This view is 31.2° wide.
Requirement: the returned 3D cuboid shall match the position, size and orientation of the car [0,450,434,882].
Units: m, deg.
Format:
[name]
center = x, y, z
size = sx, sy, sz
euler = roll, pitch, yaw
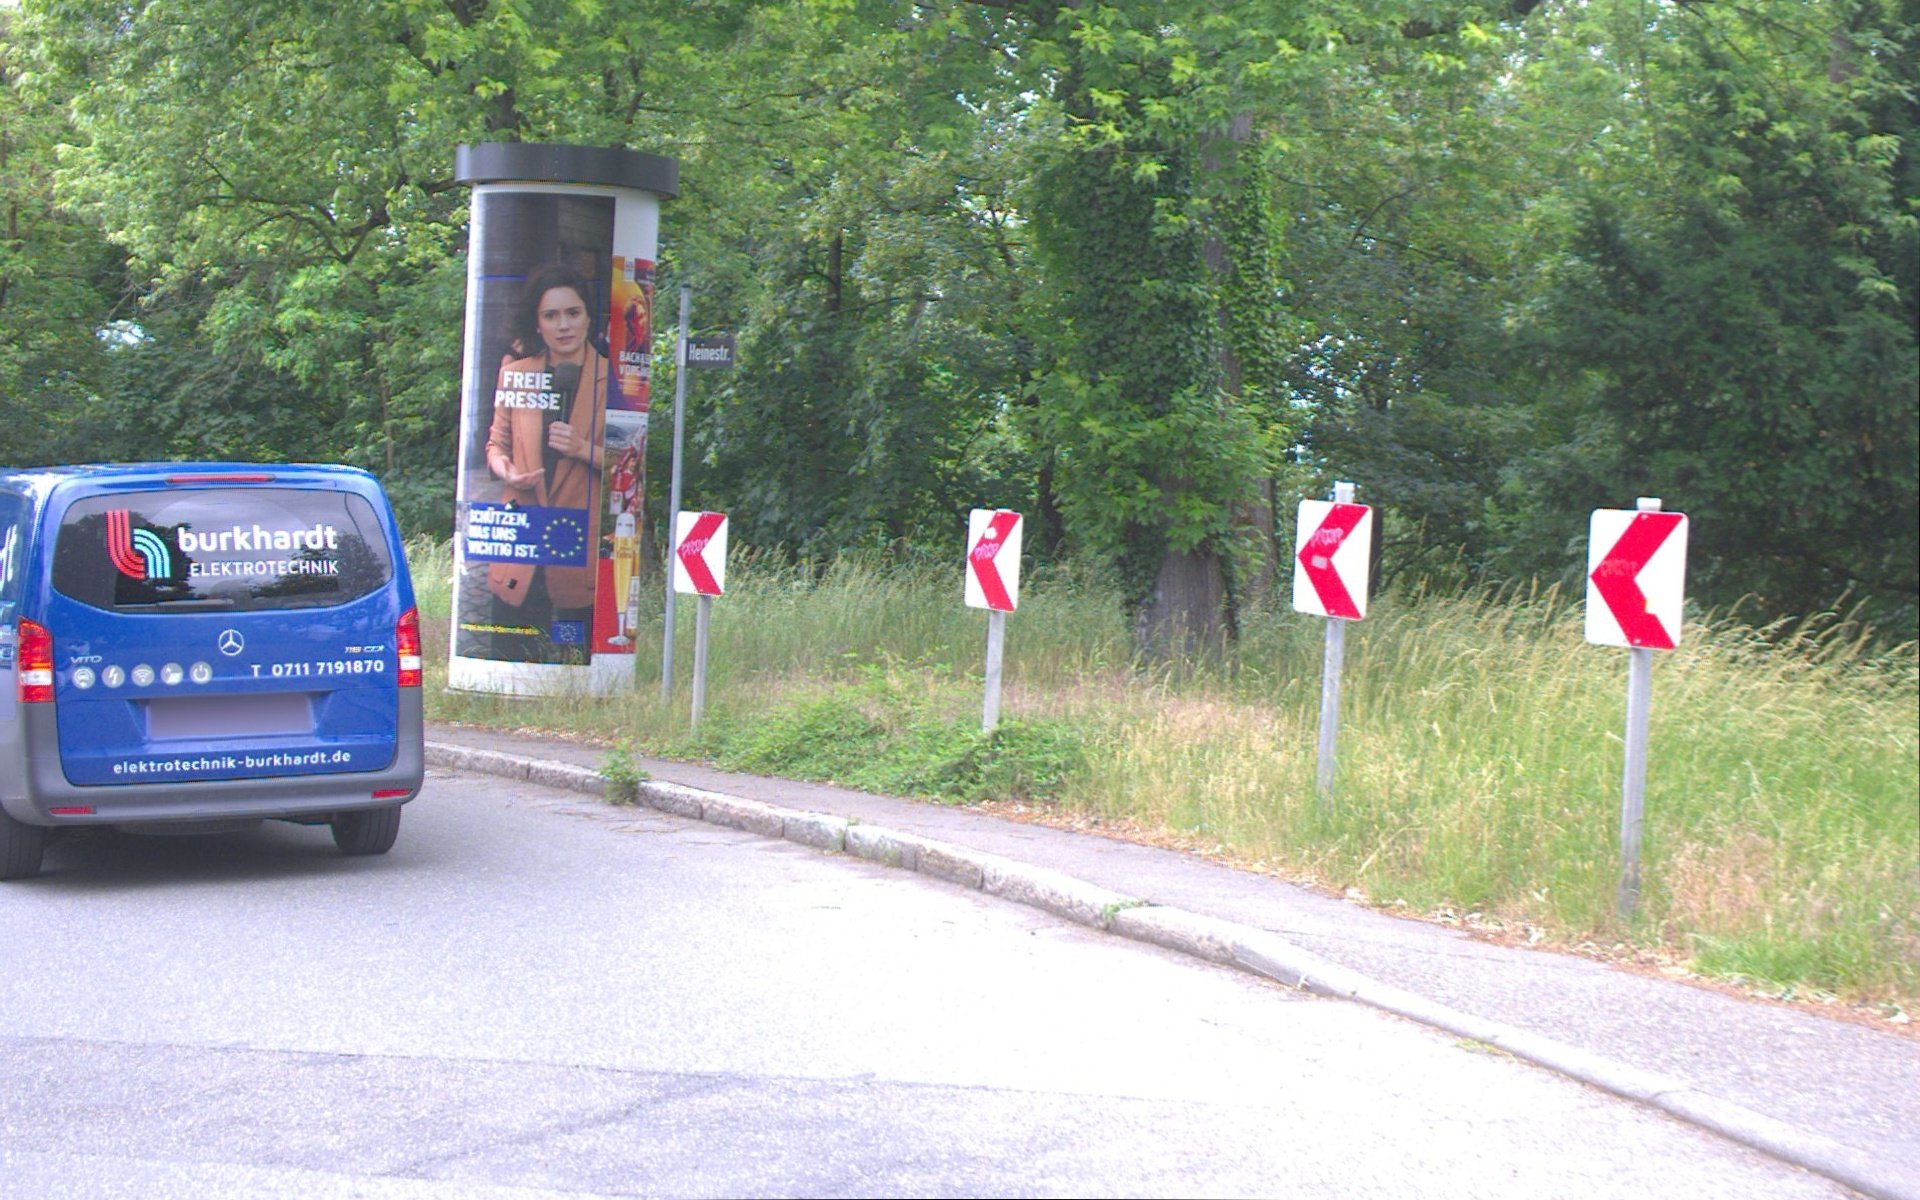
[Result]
[car]
center = -4.058, 0.226, 16.897
size = 1.913, 1.831, 4.295
euler = 0, 1, -23
